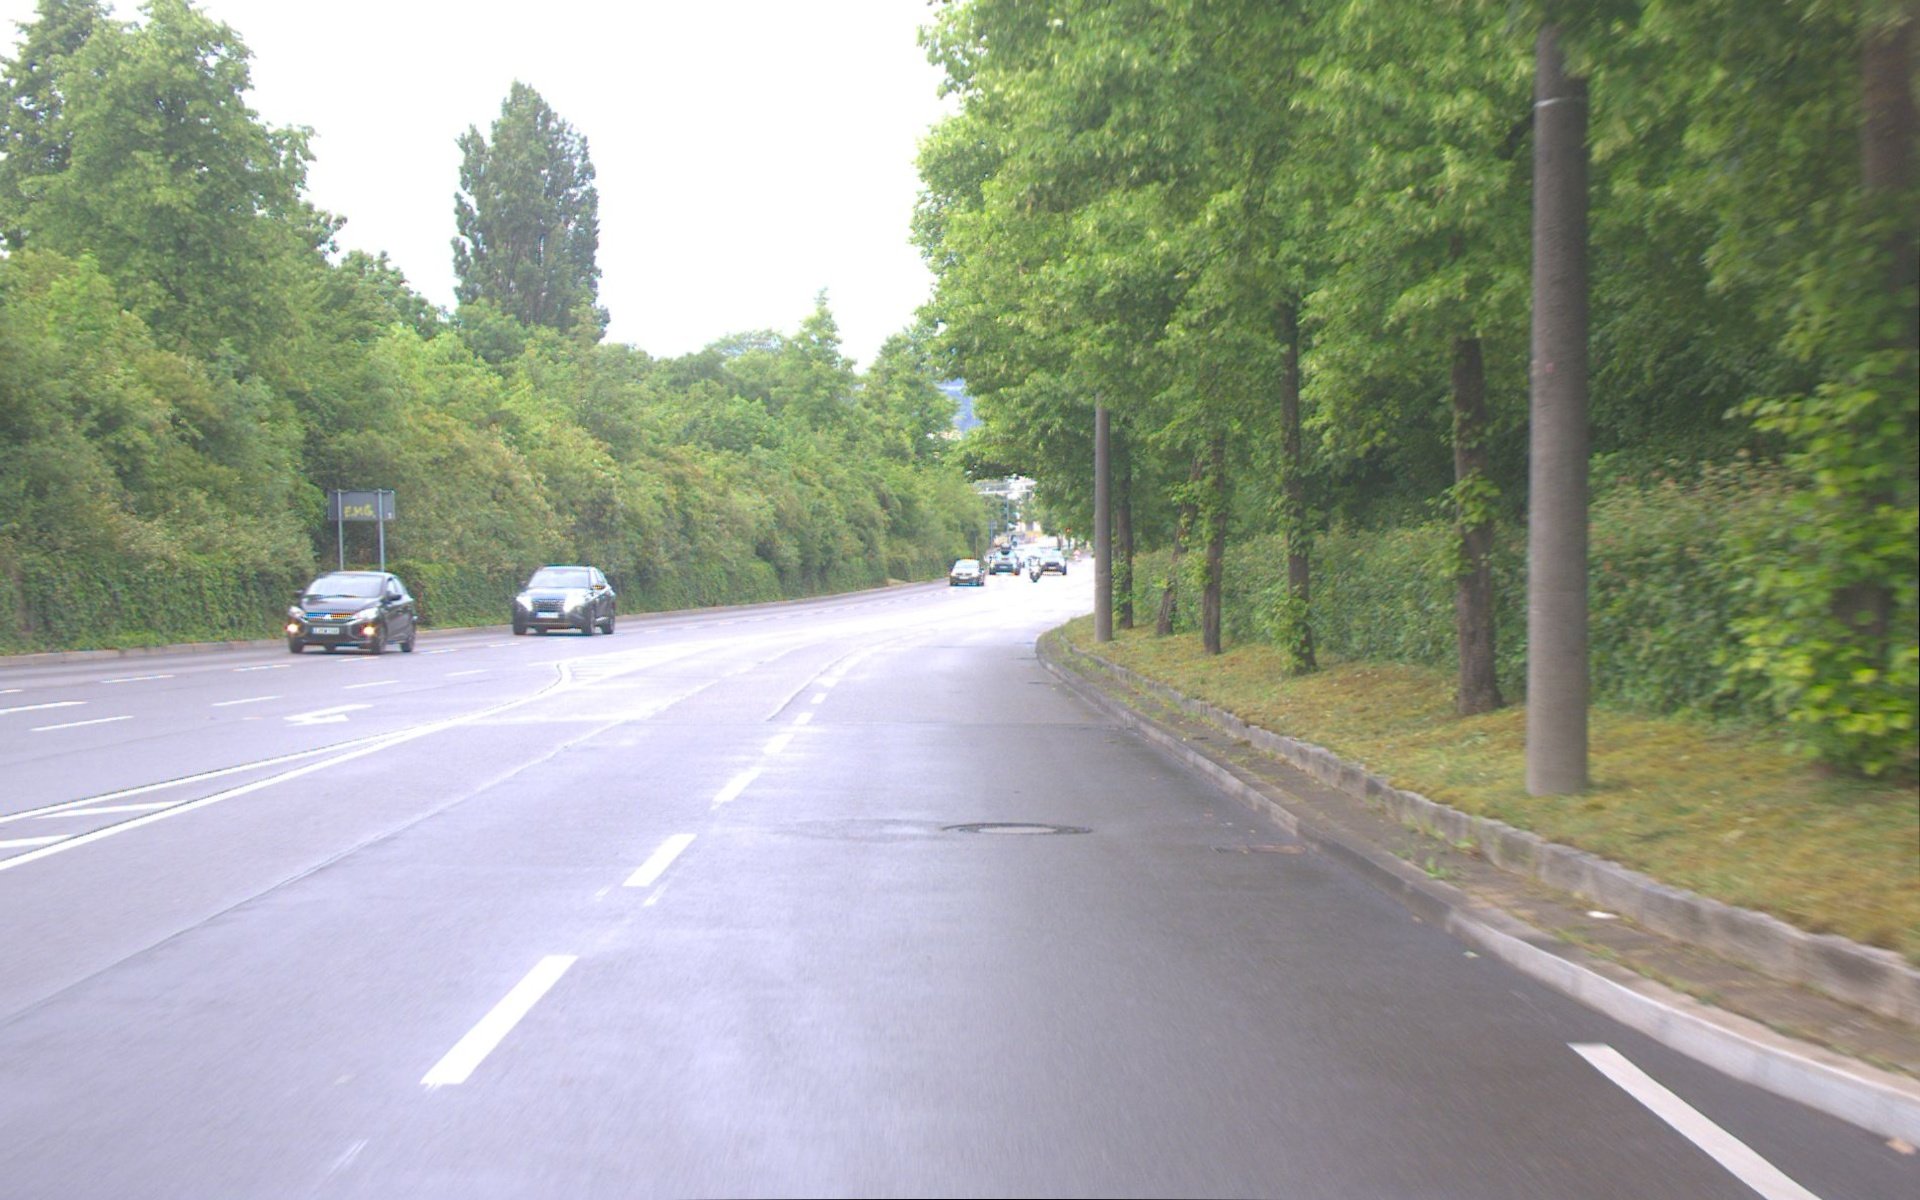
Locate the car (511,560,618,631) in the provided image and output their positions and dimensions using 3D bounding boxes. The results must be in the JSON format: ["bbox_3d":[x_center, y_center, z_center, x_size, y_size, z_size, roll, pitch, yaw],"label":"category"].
[{"bbox_3d":[-9.344,-0.115,81.446,1.864,1.584,3.892,2,0,2],"label":"car"}]

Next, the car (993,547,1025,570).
[{"bbox_3d":[3.324,-2.822,232.544,1.865,1.459,3.892,2,0,5],"label":"car"}]

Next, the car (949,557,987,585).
[{"bbox_3d":[0.466,-1.585,189.278,1.864,1.459,3.892,2,0,2],"label":"car"}]

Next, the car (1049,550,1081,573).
[{"bbox_3d":[7.224,-2.646,236.657,1.865,1.459,3.892,2,0,5],"label":"car"}]

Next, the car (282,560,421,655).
[{"bbox_3d":[-10.751,0.105,60.981,1.725,1.560,3.893,2,1,0],"label":"car"}]
